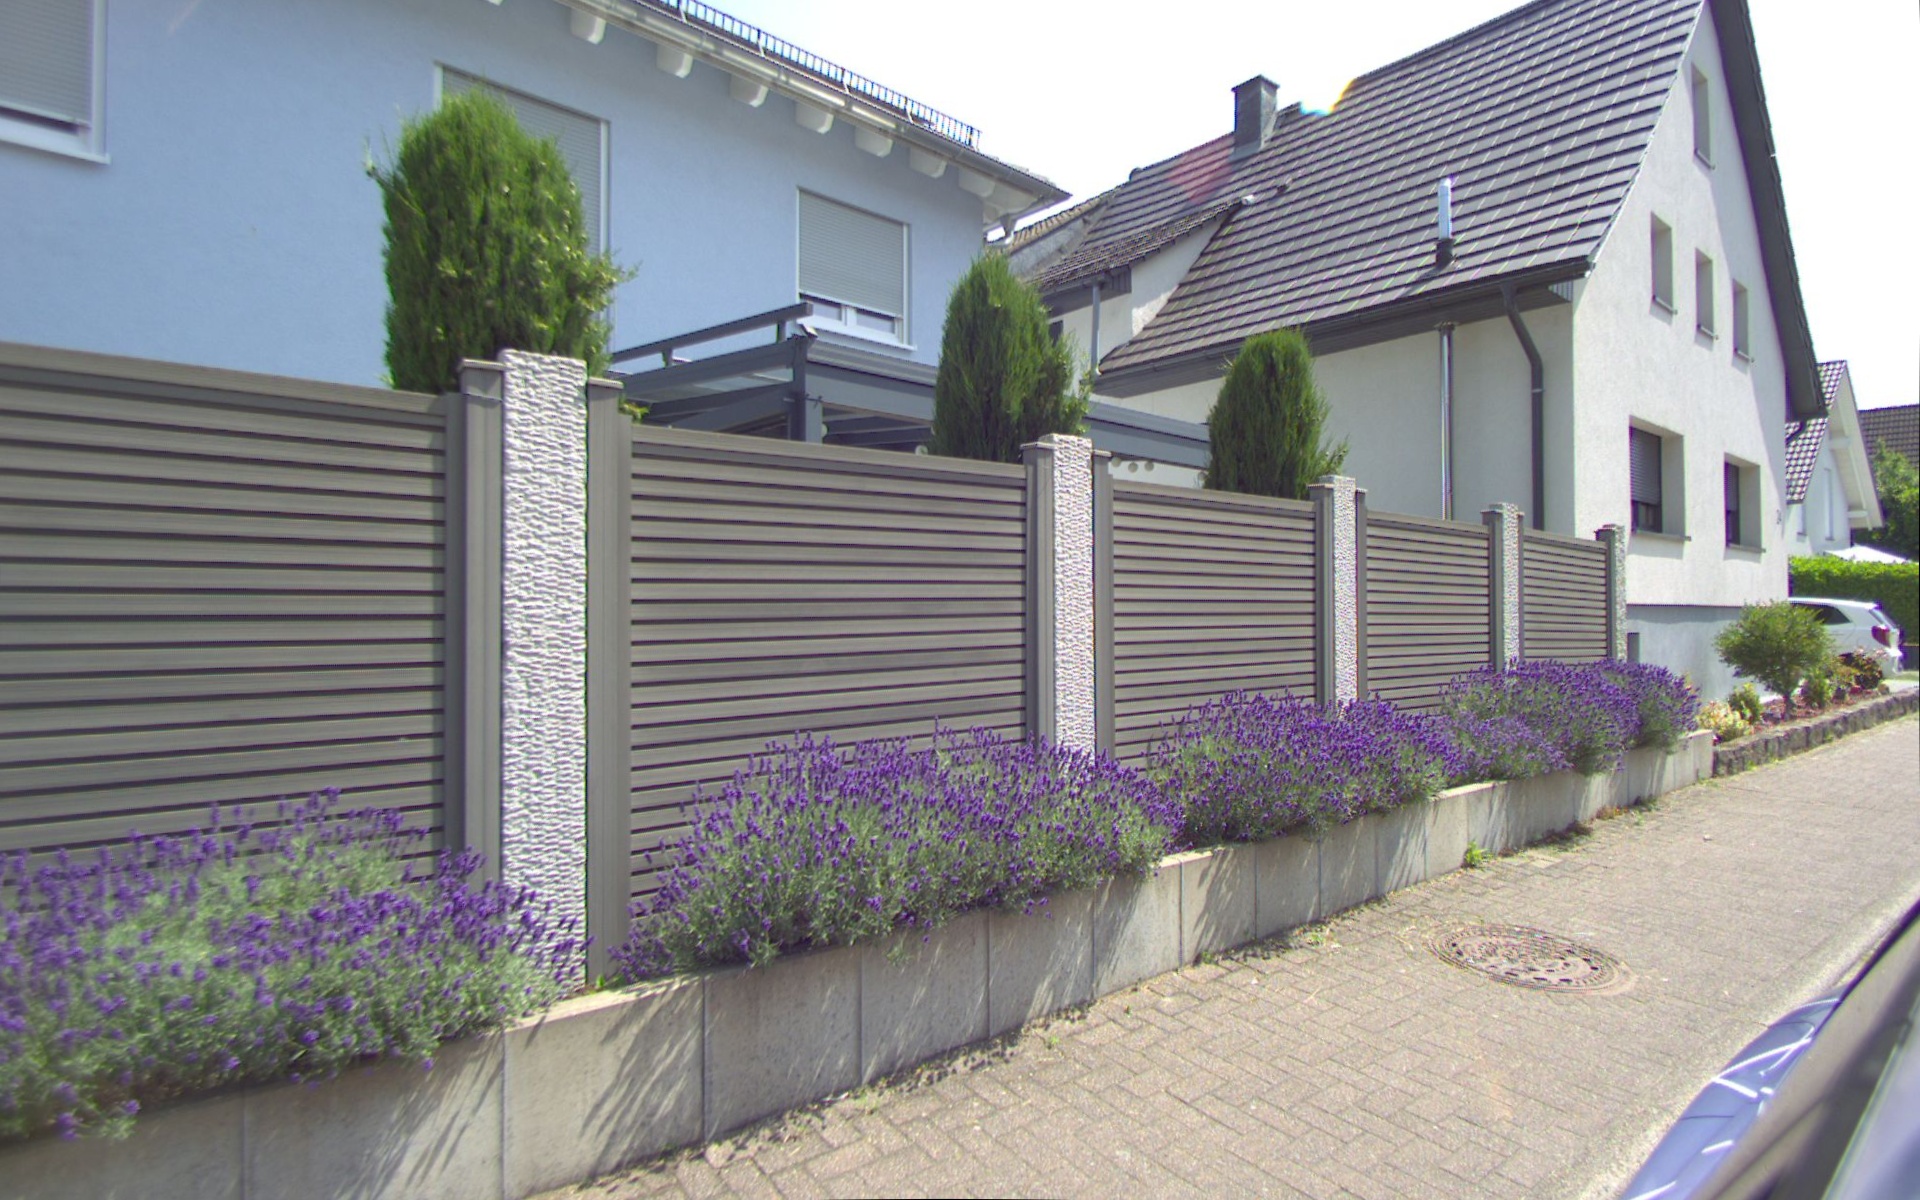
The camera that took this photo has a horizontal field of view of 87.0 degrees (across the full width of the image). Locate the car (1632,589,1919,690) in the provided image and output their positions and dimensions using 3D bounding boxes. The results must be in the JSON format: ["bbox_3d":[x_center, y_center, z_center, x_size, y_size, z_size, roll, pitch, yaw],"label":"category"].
[{"bbox_3d":[13.900,0.597,17.324,1.735,1.493,3.663,1,0,-42],"label":"car"}]
